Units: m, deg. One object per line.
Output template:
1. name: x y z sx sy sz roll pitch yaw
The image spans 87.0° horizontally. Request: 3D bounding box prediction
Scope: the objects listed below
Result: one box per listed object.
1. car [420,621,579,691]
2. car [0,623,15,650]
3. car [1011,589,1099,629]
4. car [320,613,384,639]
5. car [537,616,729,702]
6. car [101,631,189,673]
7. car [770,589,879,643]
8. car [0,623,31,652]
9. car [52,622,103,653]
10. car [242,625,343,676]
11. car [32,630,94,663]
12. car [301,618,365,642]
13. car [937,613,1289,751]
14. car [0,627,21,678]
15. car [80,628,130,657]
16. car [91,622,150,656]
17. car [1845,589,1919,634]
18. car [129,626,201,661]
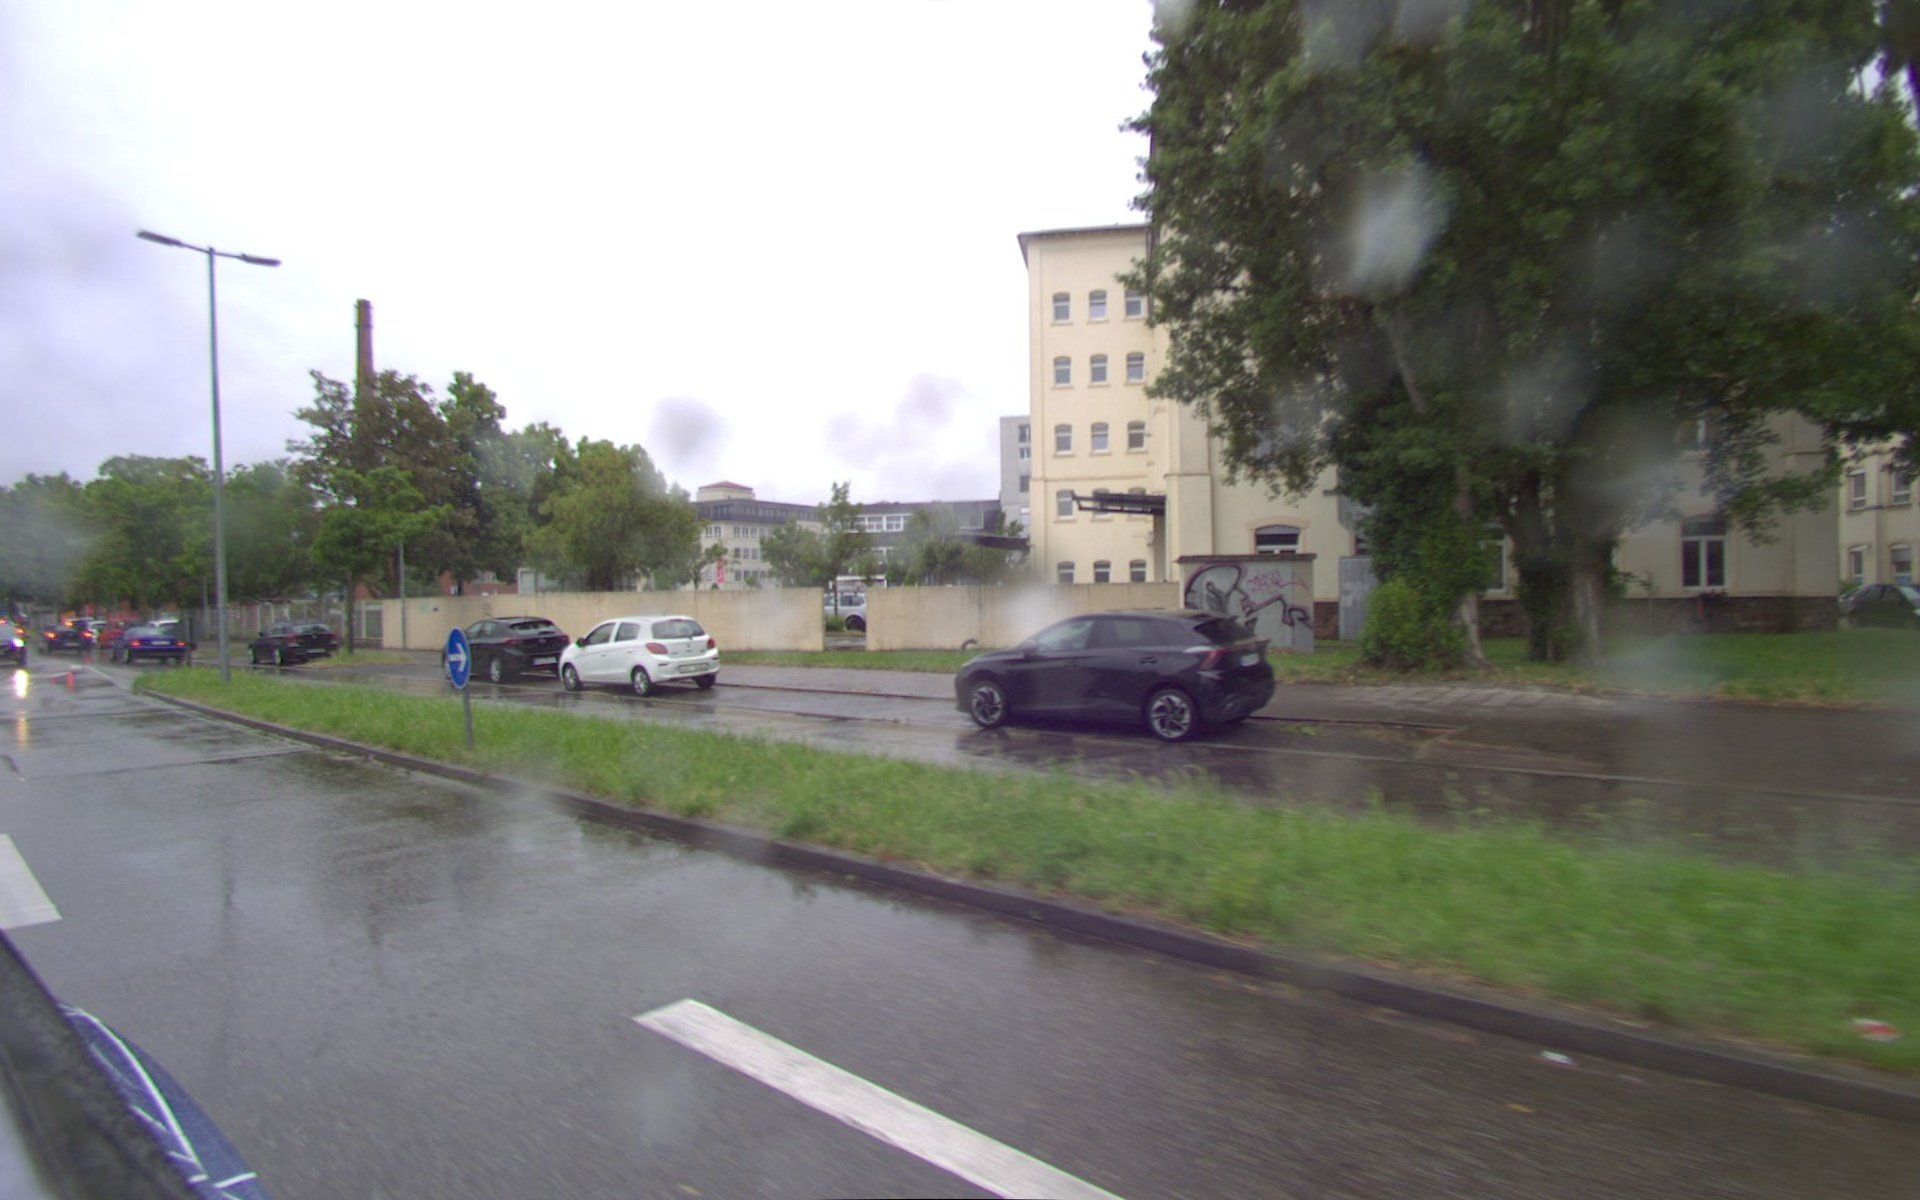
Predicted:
1. car: -10.841 1.235 23.695 4.176 1.393 1.710 -1 2 40
2. car: -66.846 2.518 69.799 4.174 1.755 2.044 -1 1 42
3. car: 4.502 0.423 47.748 3.955 1.778 1.994 -2 0 10
4. car: -47.790 2.056 79.590 3.955 1.896 1.994 -1 1 10
5. car: -6.545 1.104 20.056 4.117 1.485 1.587 -1 1 39
6. car: -29.309 1.827 36.358 3.947 1.404 1.709 -1 -3 40
7. car: -5.378 0.608 40.425 3.950 2.006 1.997 -2 1 5
8. car: -62.426 2.436 66.227 4.175 1.755 2.043 -1 1 43
9. car: -54.026 2.261 61.938 4.037 1.694 1.857 -1 1 42
10. car: -21.937 1.605 33.199 4.095 1.456 1.678 -1 1 41
11. car: -42.508 2.172 47.942 3.944 1.512 1.688 -1 -2 41
12. car: -47.271 2.277 76.302 3.955 1.682 1.766 -1 1 10
13. car: 1.808 0.916 12.786 4.190 1.407 1.529 -1 2 40
14. car: -33.395 1.787 34.593 1.806 1.641 4.003 -2 1 -44
15. car: -47.398 2.317 56.058 3.719 1.464 1.672 -1 1 43
16. car: -43.445 2.001 52.336 3.794 1.610 1.608 -1 1 39
17. car: 29.885 0.326 31.329 1.886 1.279 4.083 -1 1 11
18. car: -37.117 1.986 47.199 4.677 1.471 1.756 -1 1 41
